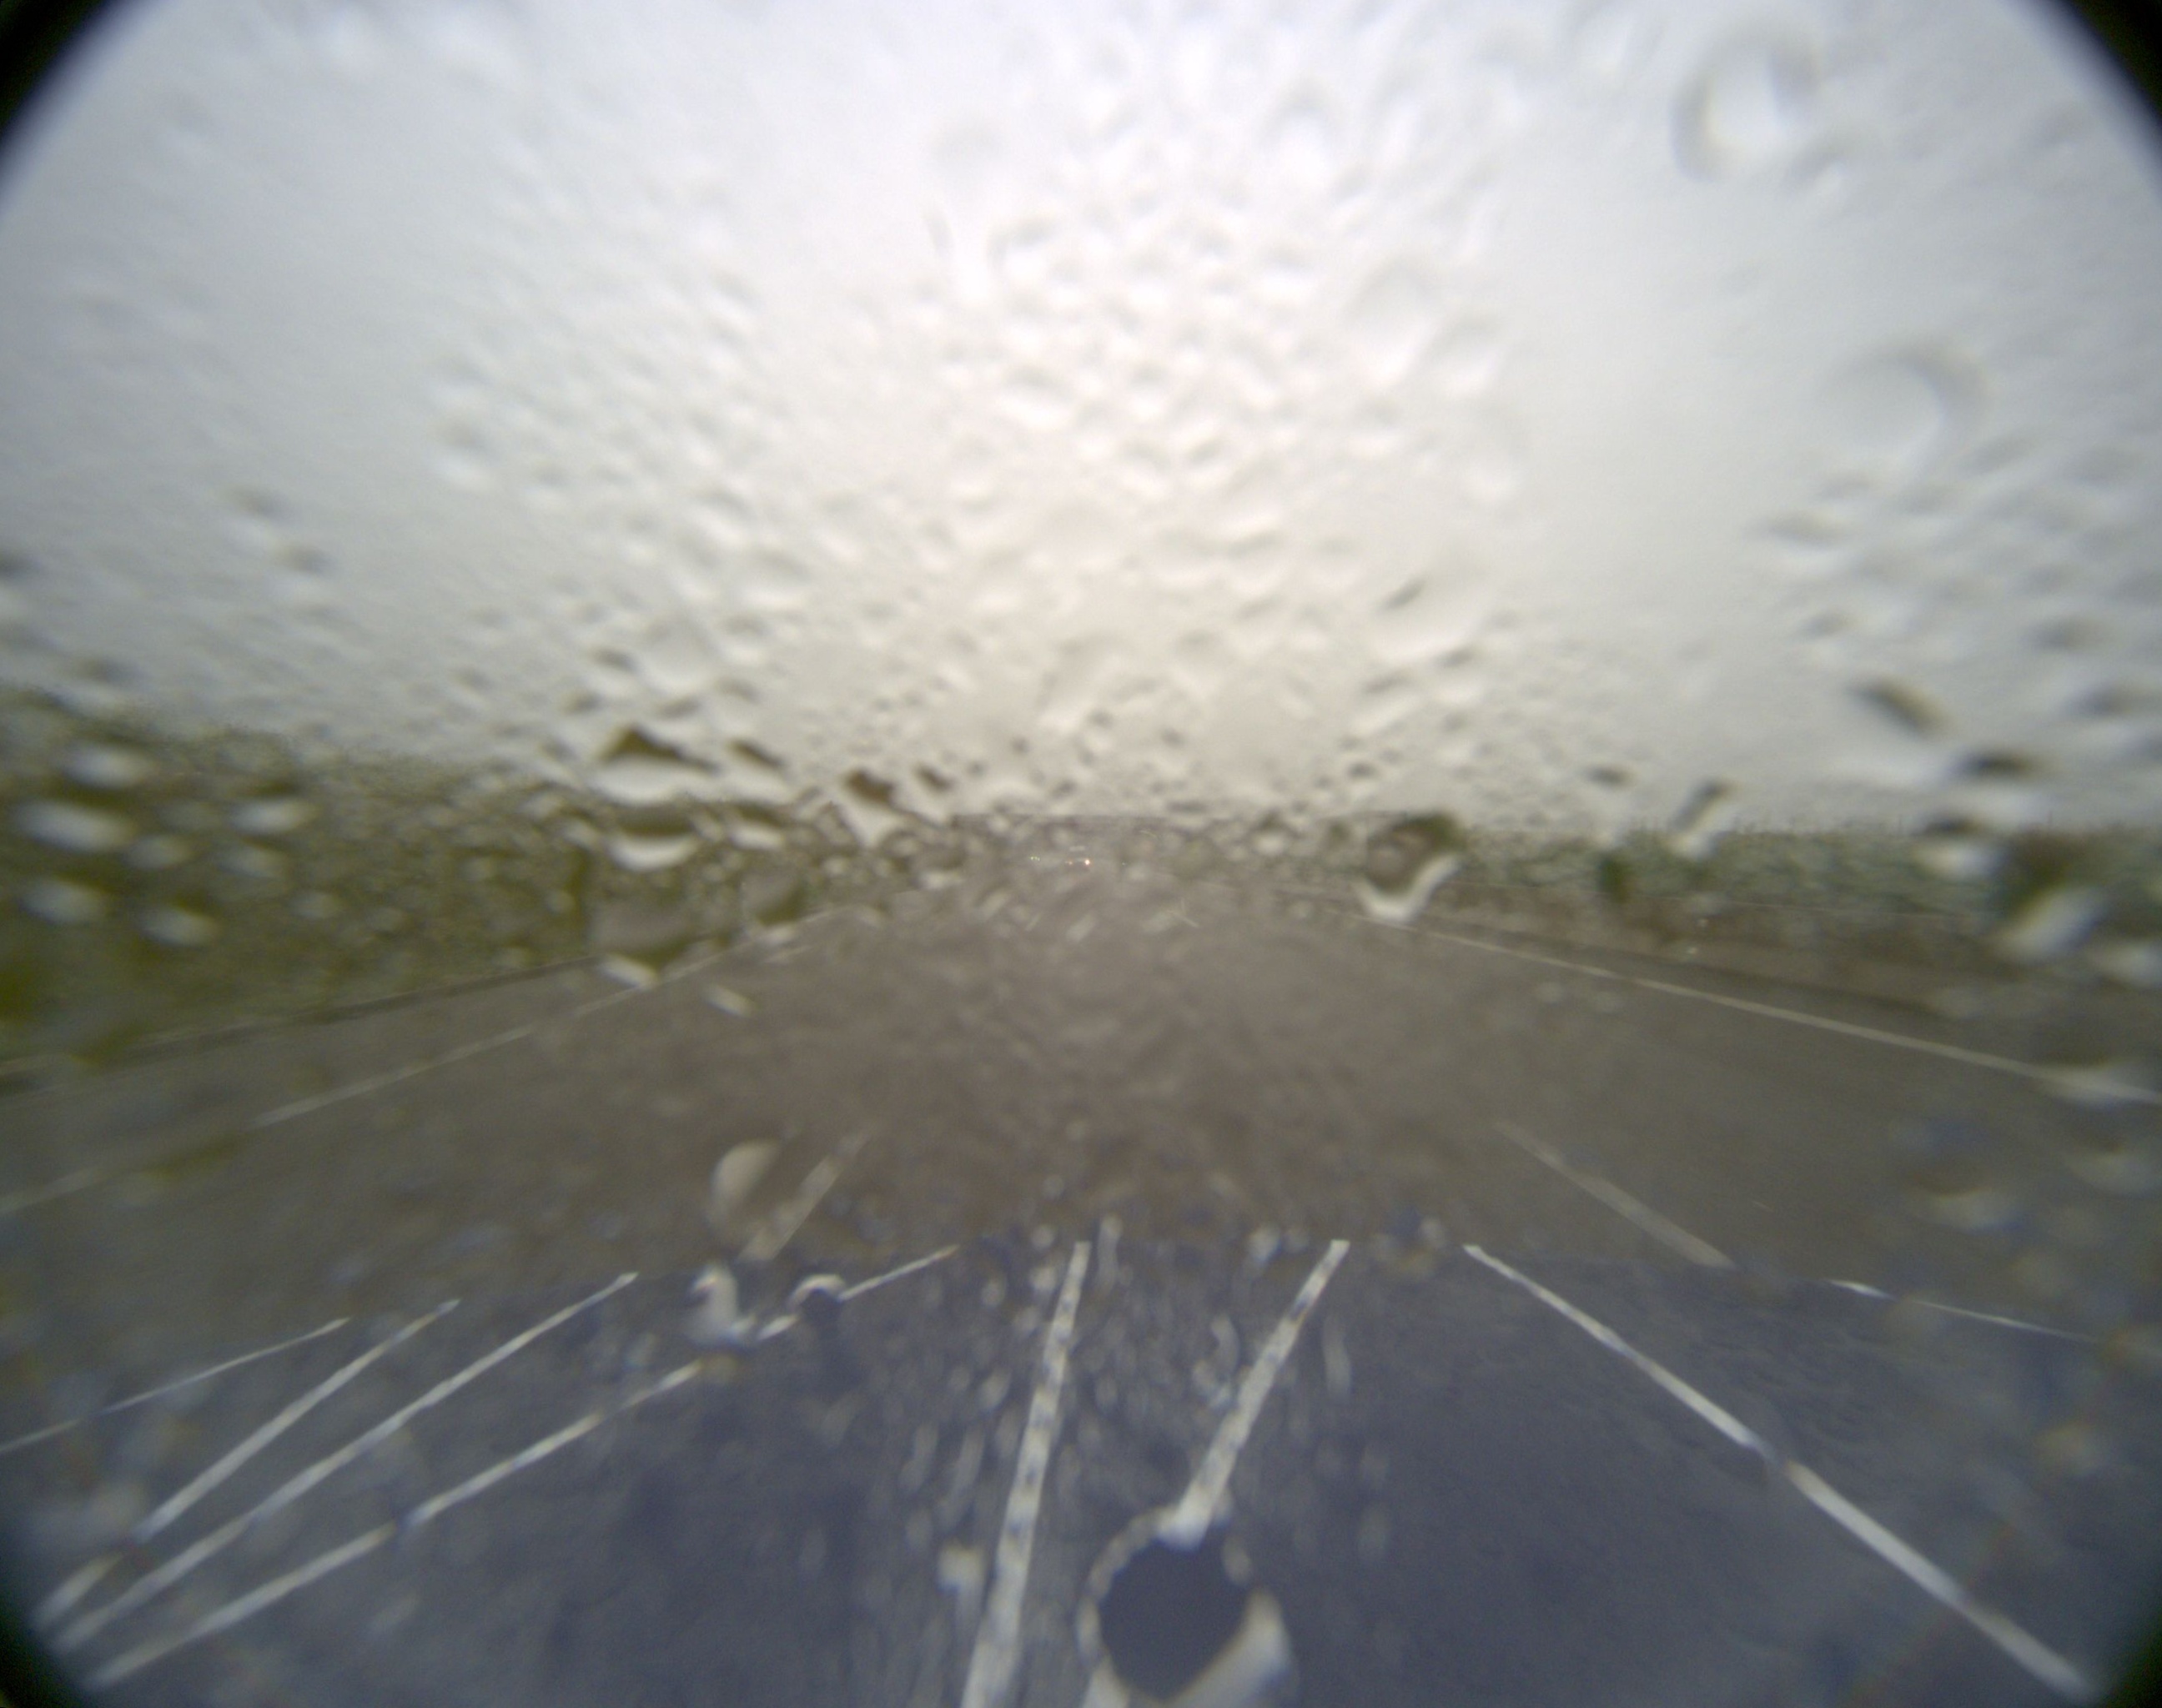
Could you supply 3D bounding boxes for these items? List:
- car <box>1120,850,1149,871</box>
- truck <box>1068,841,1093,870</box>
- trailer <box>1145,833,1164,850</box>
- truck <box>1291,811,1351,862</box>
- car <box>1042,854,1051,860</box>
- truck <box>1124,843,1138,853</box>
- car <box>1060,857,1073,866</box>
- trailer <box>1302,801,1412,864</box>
[{"bbox_3d":[4.369,0.493,62.644,1.999,1.608,3.999,-2,0,-2],"label":"car"},{"bbox_3d":[-0.093,0.096,77.320,1.999,2.699,7.995,-2,2,-3],"label":"truck"},{"bbox_3d":[16.059,-2.738,166.584,2.771,3.600,11.145,-2,2,-1],"label":"trailer"},{"bbox_3d":[19.981,-1.417,63.620,2.960,3.970,6.216,-2,0,0],"label":"truck"},{"bbox_3d":[-9.077,0.843,200.020,1.999,1.543,3.999,-2,0,0],"label":"car"},{"bbox_3d":[11.504,-1.381,174.823,2.481,2.143,7.422,-2,2,-1],"label":"truck"},{"bbox_3d":[-2.491,1.224,126.518,1.999,1.521,3.998,-2,0,-3],"label":"car"},{"bbox_3d":[19.907,-1.406,56.231,2.951,3.959,14.304,-2,0,1],"label":"trailer"}]
